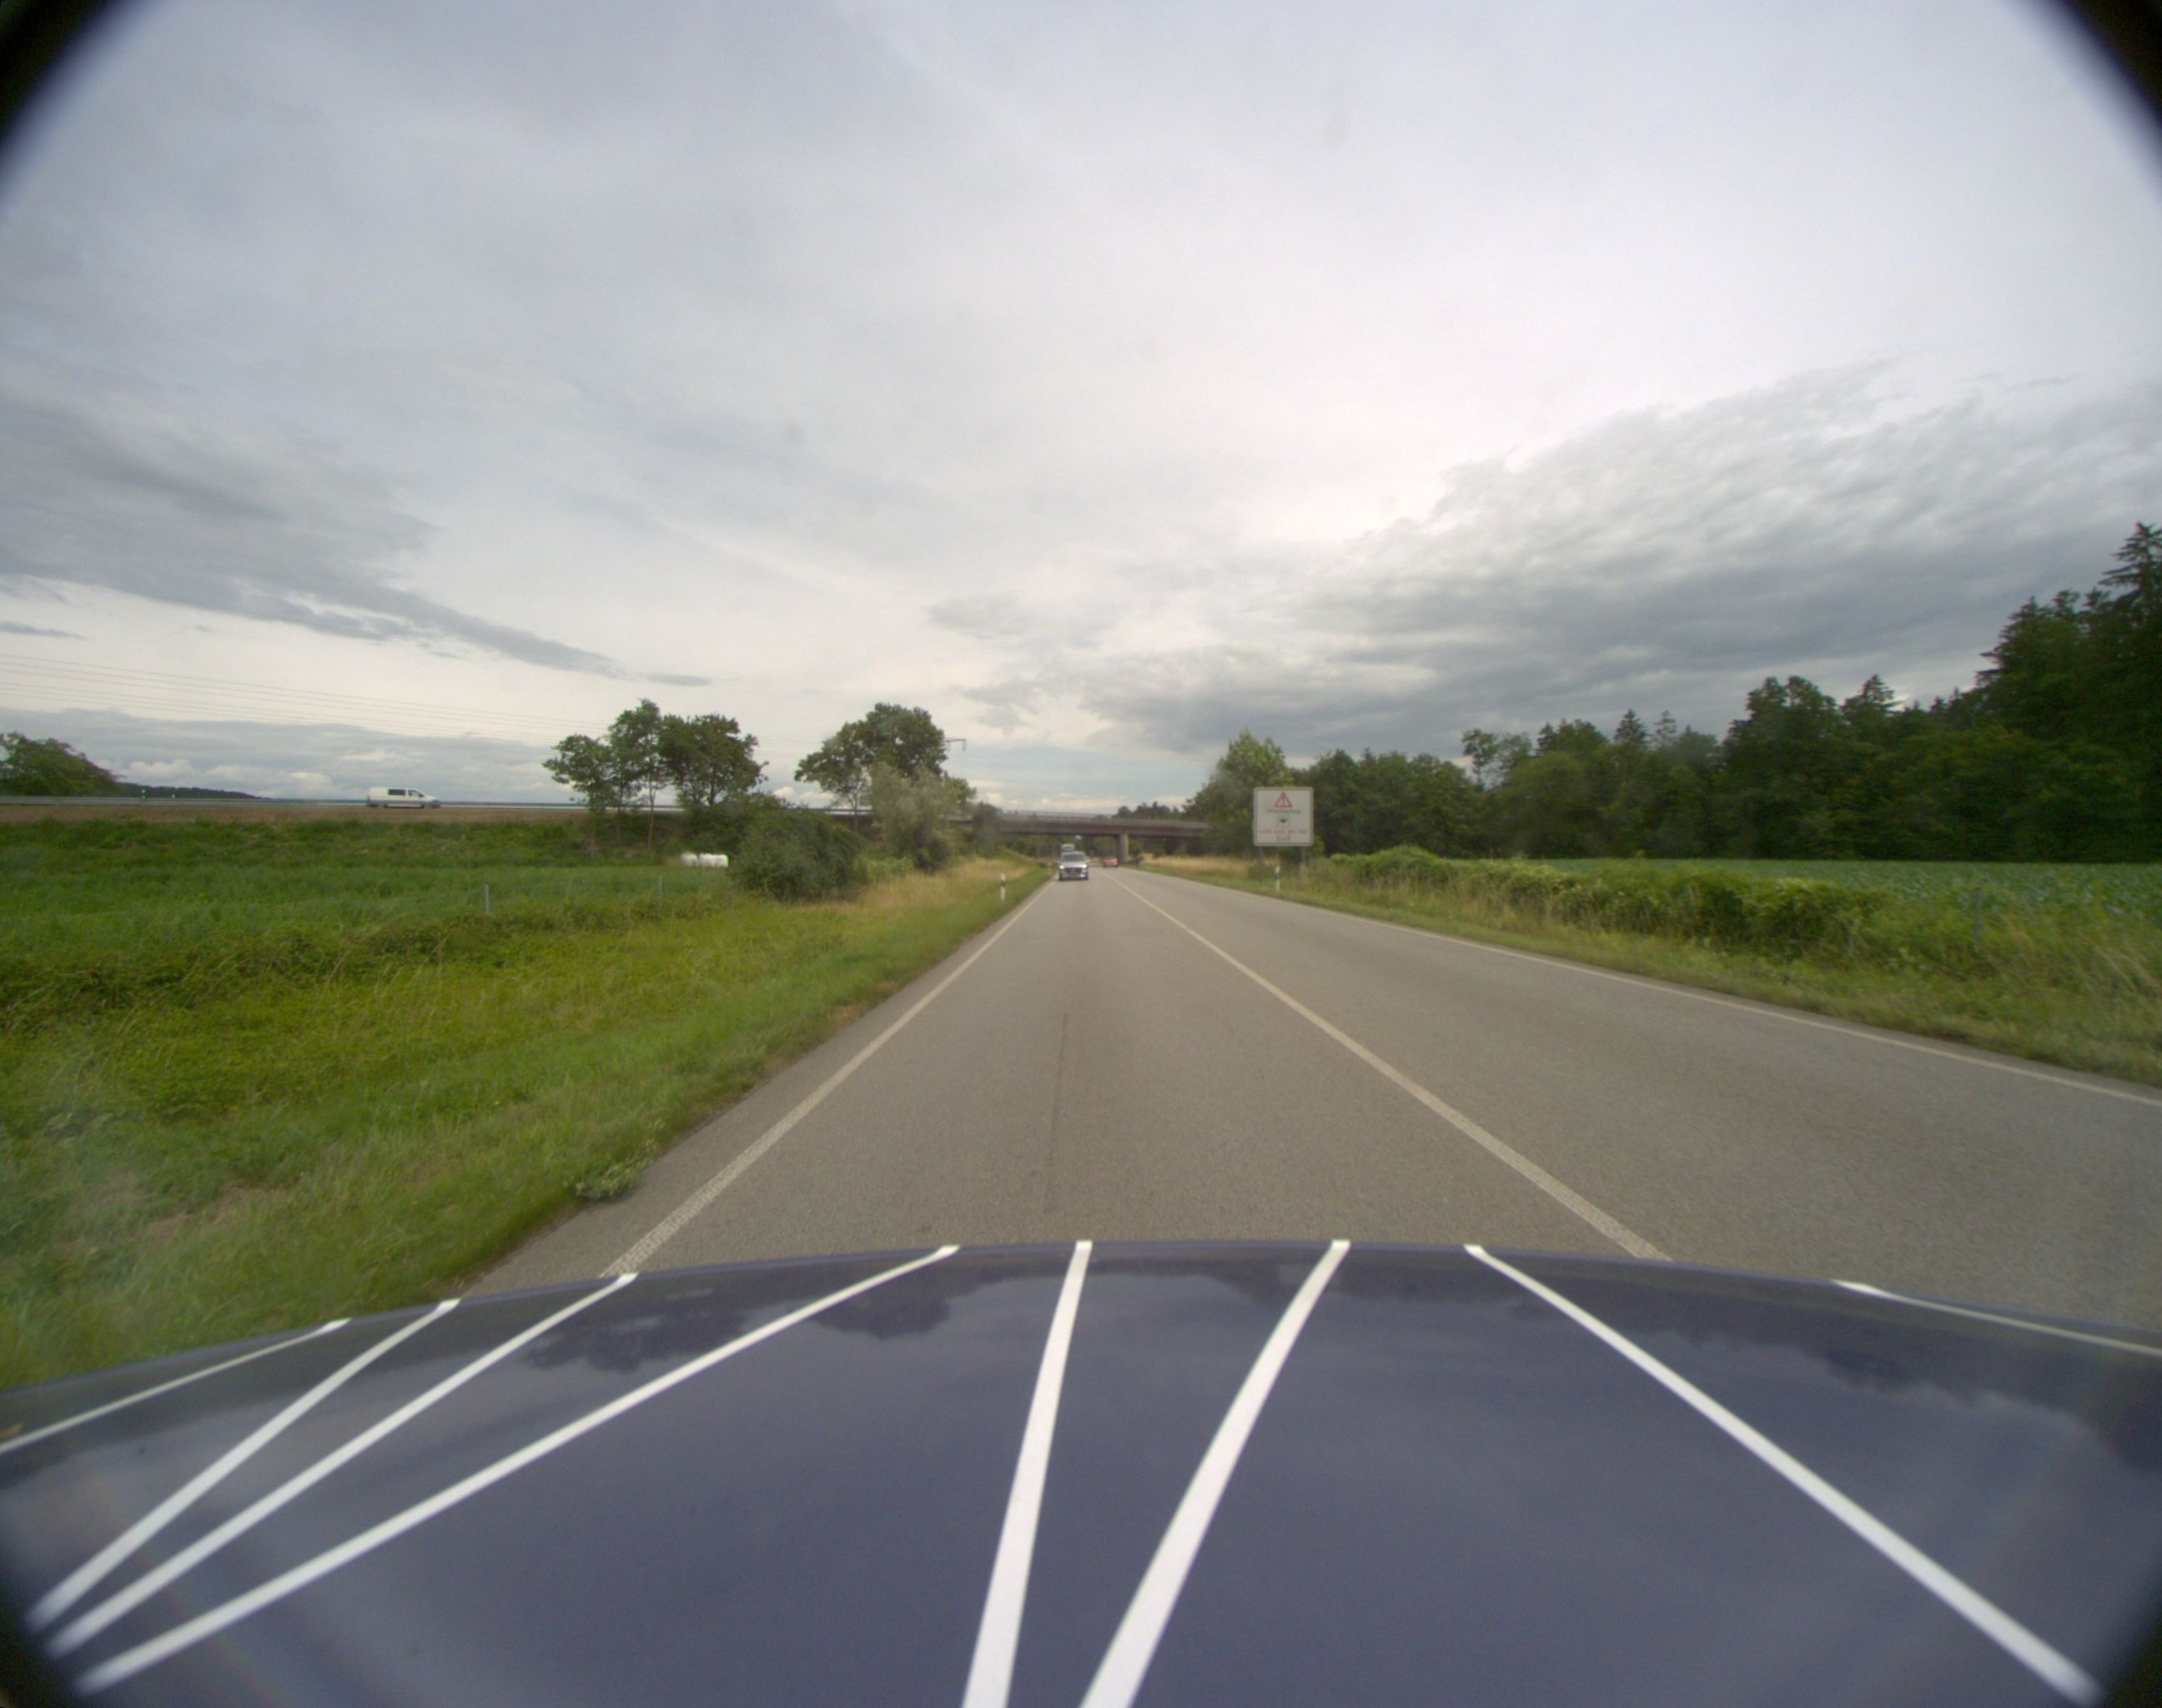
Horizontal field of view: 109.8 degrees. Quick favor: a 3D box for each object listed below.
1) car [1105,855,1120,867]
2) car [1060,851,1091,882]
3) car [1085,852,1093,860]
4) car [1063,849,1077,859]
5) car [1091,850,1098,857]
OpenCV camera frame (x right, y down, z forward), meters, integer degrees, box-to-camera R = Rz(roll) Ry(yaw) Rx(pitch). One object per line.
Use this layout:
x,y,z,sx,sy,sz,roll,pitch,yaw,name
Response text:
4.074,0.865,97.903,1.771,1.455,4.000,-3,1,2,car
-0.377,0.796,50.672,1.923,1.823,3.999,-3,1,0,car
1.820,0.463,183.064,1.800,1.653,3.999,-3,1,0,car
-2.248,-0.059,155.092,1.997,2.002,4.002,-2,1,9,car
3.419,-0.032,193.374,1.800,1.653,3.999,-3,1,0,car
